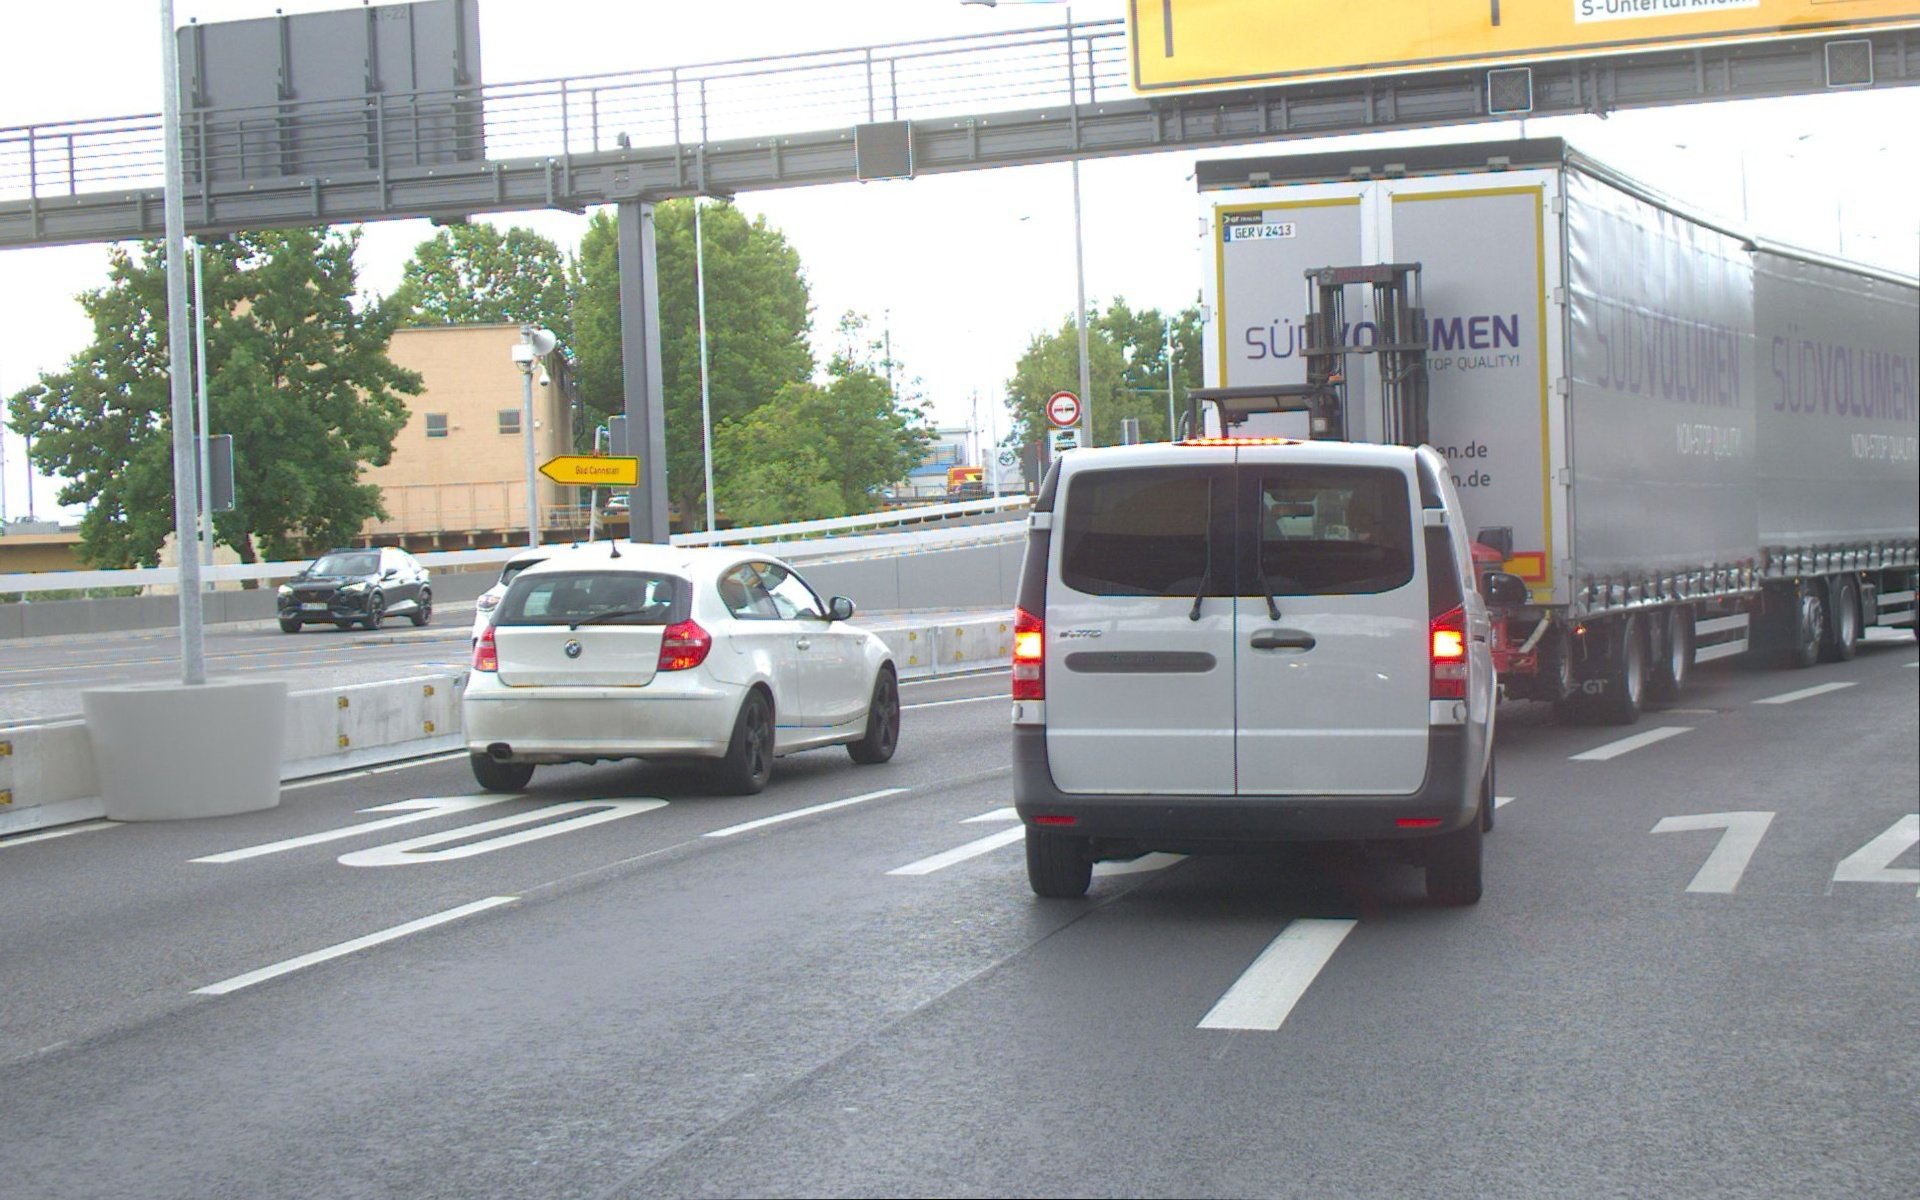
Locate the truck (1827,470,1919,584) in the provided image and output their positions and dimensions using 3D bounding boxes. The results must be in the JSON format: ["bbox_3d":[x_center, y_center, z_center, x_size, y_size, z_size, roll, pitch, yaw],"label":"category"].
[{"bbox_3d":[17.371,-1.334,63.811,1.996,2.024,3.829,2,1,21],"label":"truck"}]

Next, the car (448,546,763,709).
[{"bbox_3d":[-3.327,0.219,32.992,1.745,1.427,3.773,2,1,15],"label":"car"}]

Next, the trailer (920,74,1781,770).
[{"bbox_3d":[3.528,-1.149,26.183,3.728,4.127,10.971,-1,1,22],"label":"trailer"}]

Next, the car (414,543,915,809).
[{"bbox_3d":[-1.698,0.393,21.184,1.745,1.427,3.997,2,1,16],"label":"car"}]

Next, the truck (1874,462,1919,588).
[{"bbox_3d":[19.957,-1.486,69.790,1.996,2.467,3.995,2,1,25],"label":"truck"}]

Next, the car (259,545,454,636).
[{"bbox_3d":[-11.283,-0.199,64.536,1.995,1.579,4.133,2,1,15],"label":"car"}]

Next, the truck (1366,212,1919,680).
[{"bbox_3d":[7.910,-1.460,36.100,3.730,4.127,10.968,-1,1,26],"label":"truck"}]

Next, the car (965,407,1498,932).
[{"bbox_3d":[1.427,0.232,15.698,1.994,1.983,5.197,-1,1,9],"label":"car"}]
